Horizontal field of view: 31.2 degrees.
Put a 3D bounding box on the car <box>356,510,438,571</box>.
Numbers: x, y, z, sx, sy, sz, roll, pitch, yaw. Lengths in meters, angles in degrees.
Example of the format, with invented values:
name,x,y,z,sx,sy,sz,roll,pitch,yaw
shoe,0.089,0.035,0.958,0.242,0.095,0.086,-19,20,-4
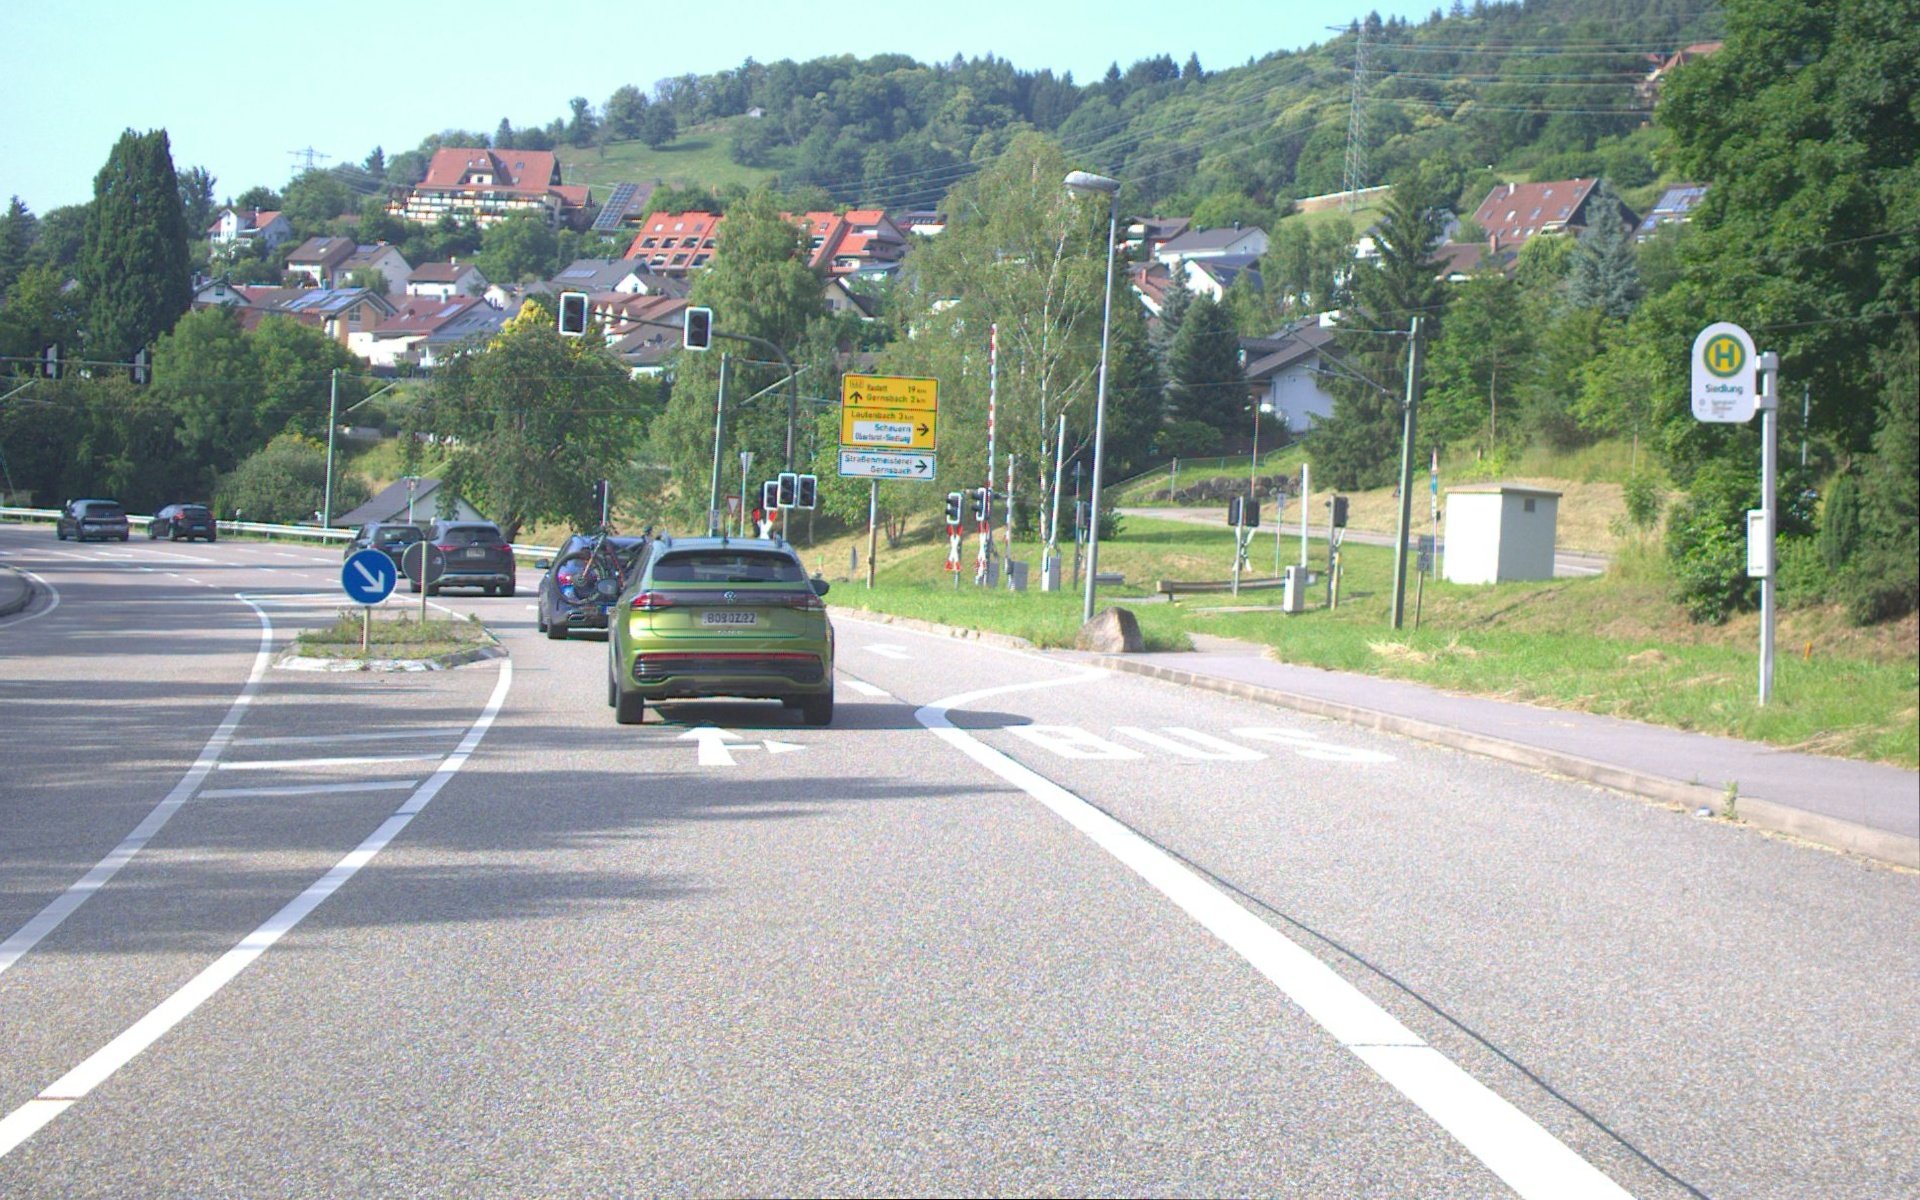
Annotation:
name,x,y,z,sx,sy,sz,roll,pitch,yaw
car,-14.827,-1.575,90.425,1.848,1.521,3.663,1,1,-13

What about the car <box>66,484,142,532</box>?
name,x,y,z,sx,sy,sz,roll,pitch,yaw
car,-33.247,-3.593,133.471,2.063,1.805,4.001,0,2,-26

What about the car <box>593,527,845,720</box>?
name,x,y,z,sx,sy,sz,roll,pitch,yaw
car,-2.058,0.142,28.415,1.714,1.450,4.001,0,1,-9

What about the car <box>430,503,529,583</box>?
name,x,y,z,sx,sy,sz,roll,pitch,yaw
car,-10.459,-1.249,74.679,1.879,1.681,4.001,0,1,-11

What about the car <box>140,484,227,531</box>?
name,x,y,z,sx,sy,sz,roll,pitch,yaw
car,-30.374,-3.627,134.461,1.993,1.739,4.000,1,2,-34

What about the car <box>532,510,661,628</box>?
name,x,y,z,sx,sy,sz,roll,pitch,yaw
car,-5.085,-0.456,47.758,1.667,1.554,4.001,0,1,-8
